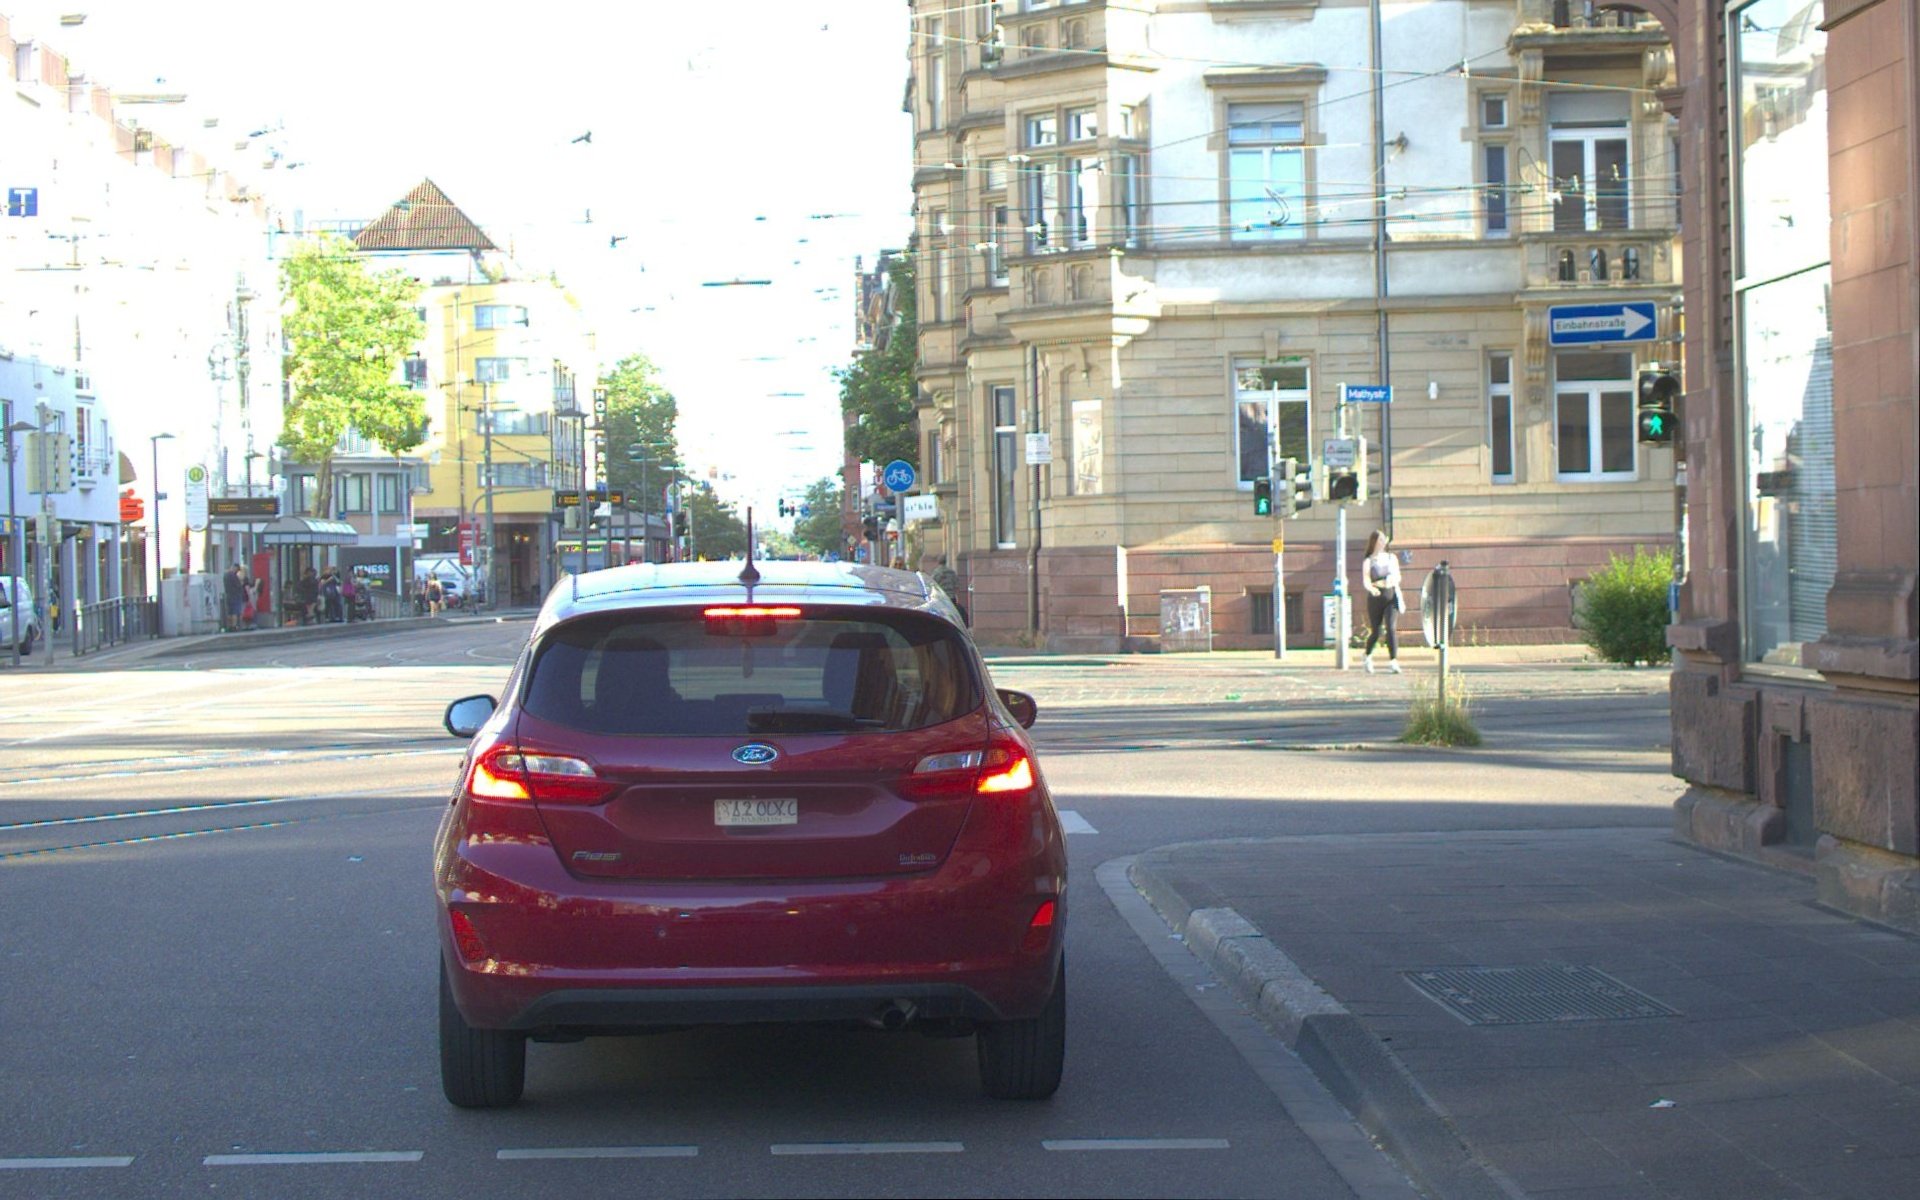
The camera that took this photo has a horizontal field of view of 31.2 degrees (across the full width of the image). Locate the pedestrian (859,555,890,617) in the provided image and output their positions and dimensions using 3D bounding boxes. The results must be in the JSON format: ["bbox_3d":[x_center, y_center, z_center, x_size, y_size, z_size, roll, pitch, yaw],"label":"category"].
[{"bbox_3d":[-2.348,-0.382,94.253,0.762,1.640,0.832,-3,1,-3],"label":"pedestrian"}]

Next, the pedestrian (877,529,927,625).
[{"bbox_3d":[-1.070,-0.414,63.279,0.794,1.715,0.719,-3,0,-4],"label":"pedestrian"}]

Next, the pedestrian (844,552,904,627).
[{"bbox_3d":[-1.573,-0.190,62.613,0.794,1.327,0.719,-3,-1,-27],"label":"pedestrian"}]

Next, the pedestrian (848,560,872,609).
[{"bbox_3d":[-3.744,-0.572,128.570,0.713,1.768,0.773,-4,2,-5],"label":"pedestrian"}]

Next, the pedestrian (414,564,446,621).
[{"bbox_3d":[-18.092,-0.251,117.334,0.878,1.898,0.935,-1,0,-18],"label":"pedestrian"}]

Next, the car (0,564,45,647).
[{"bbox_3d":[-22.566,0.134,78.695,1.993,1.831,5.347,-2,1,-3],"label":"car"}]

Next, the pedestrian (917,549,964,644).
[{"bbox_3d":[-0.380,-0.074,67.960,0.800,1.817,0.797,-3,1,-3],"label":"pedestrian"}]

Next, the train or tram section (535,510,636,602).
[{"bbox_3d":[-15.288,-1.796,141.403,2.885,3.478,14.169,-2,1,-1],"label":"train or tram section"}]

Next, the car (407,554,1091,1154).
[{"bbox_3d":[-0.632,0.617,10.371,1.692,1.490,3.580,0,1,-3],"label":"car"}]

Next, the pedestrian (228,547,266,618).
[{"bbox_3d":[-17.621,-0.436,85.015,0.765,1.727,0.519,-1,0,39],"label":"pedestrian"}]

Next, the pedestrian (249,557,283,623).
[{"bbox_3d":[-17.993,-0.248,89.103,0.695,1.685,0.672,-1,0,-26],"label":"pedestrian"}]

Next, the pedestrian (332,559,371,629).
[{"bbox_3d":[-16.813,-0.167,94.982,0.931,1.898,0.881,-1,0,-5],"label":"pedestrian"}]

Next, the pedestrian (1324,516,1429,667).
[{"bbox_3d":[5.103,-0.106,42.191,1.023,1.801,1.083,-2,1,-6],"label":"pedestrian"}]

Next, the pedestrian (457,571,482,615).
[{"bbox_3d":[-21.233,-0.298,148.845,0.878,1.898,0.935,-1,0,-18],"label":"pedestrian"}]

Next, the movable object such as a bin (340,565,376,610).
[{"bbox_3d":[-17.779,-0.367,101.496,0.937,1.282,0.935,-1,0,-4],"label":"movable object such as a bin"}]

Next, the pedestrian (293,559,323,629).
[{"bbox_3d":[-17.748,-0.167,93.600,0.695,1.898,0.672,-1,0,-5],"label":"pedestrian"}]

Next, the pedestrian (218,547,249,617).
[{"bbox_3d":[-17.531,-0.431,82.973,0.599,1.686,0.613,-1,0,-2],"label":"pedestrian"}]

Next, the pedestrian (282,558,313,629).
[{"bbox_3d":[-17.878,-0.165,92.781,0.695,1.898,0.672,-1,0,-5],"label":"pedestrian"}]

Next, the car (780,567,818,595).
[{"bbox_3d":[-8.717,-1.023,186.202,1.993,1.444,4.000,-1,1,-2],"label":"car"}]
